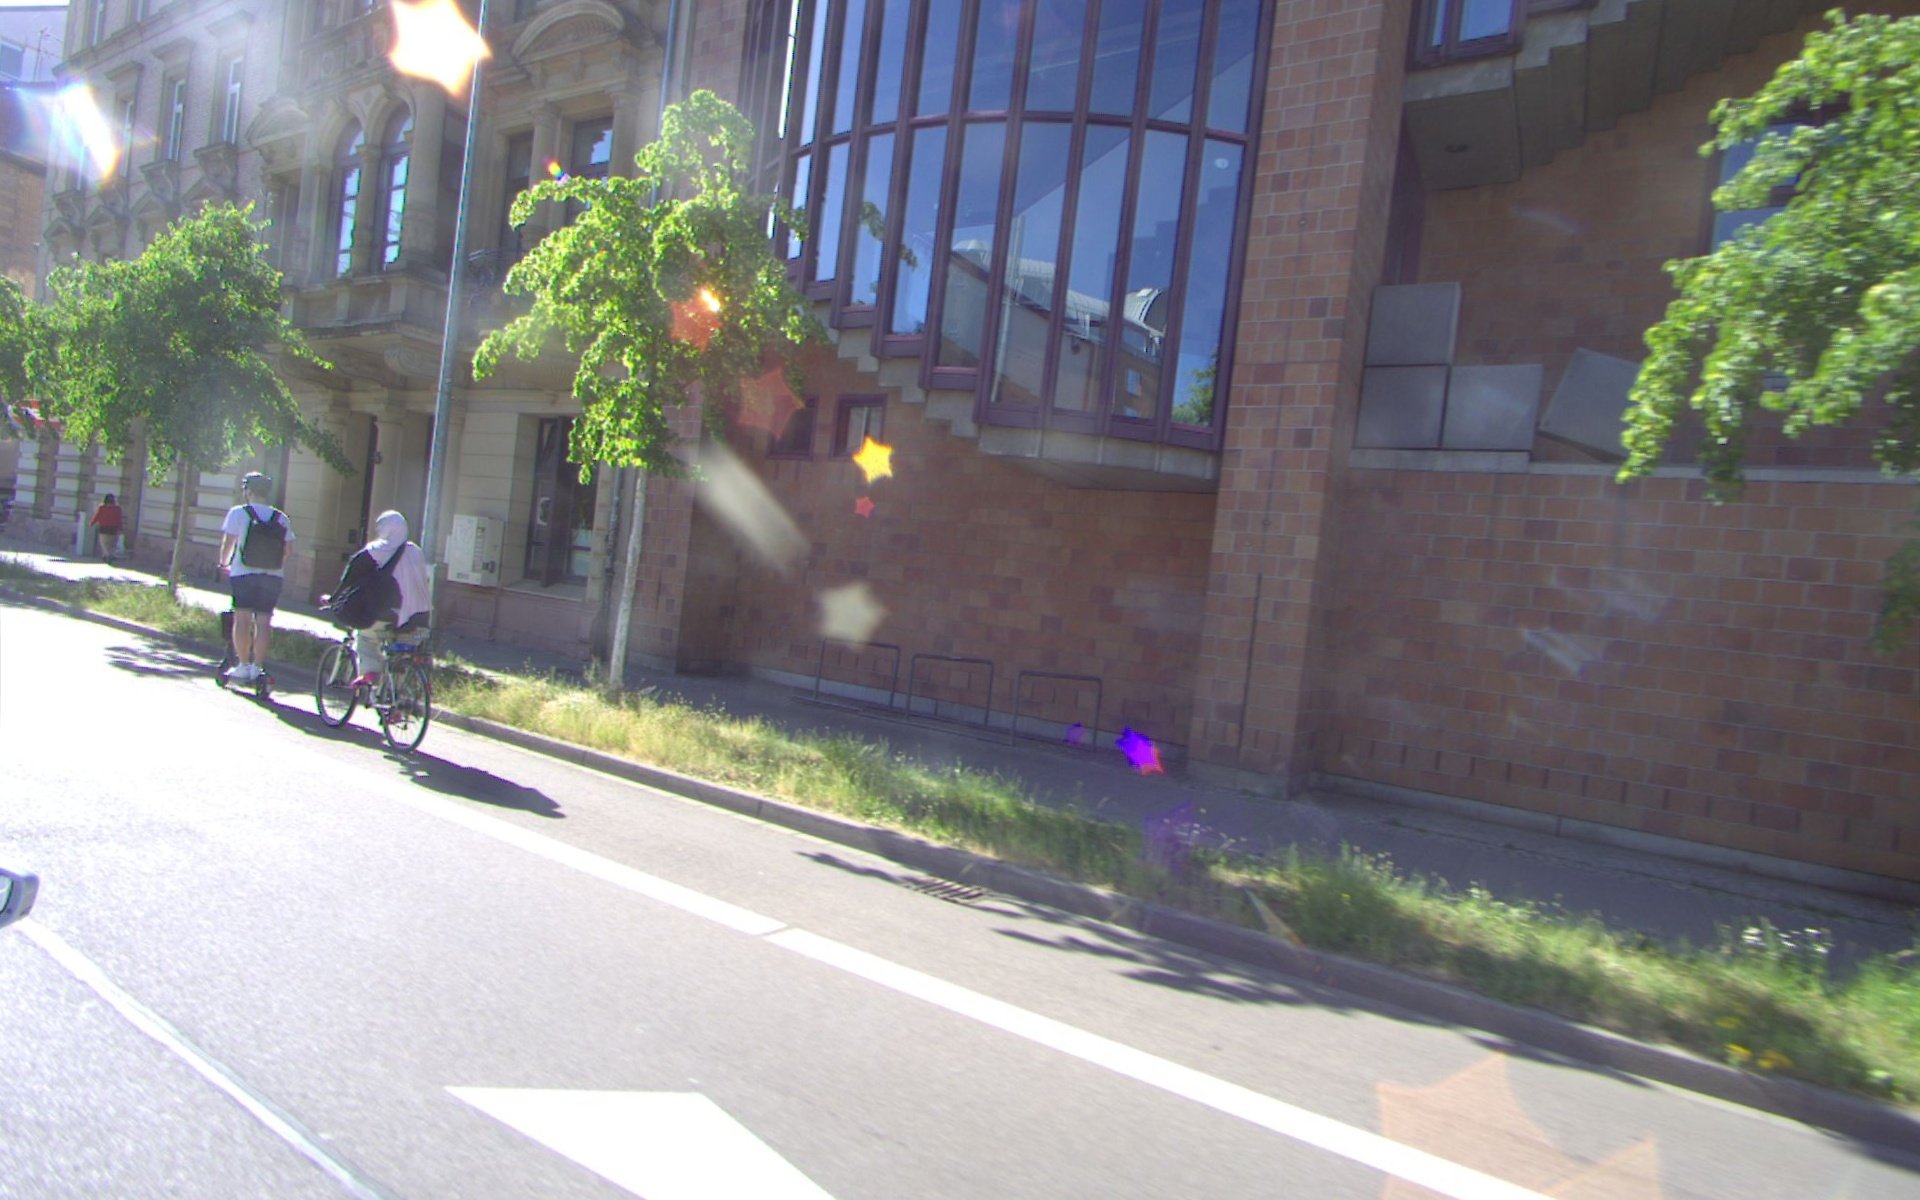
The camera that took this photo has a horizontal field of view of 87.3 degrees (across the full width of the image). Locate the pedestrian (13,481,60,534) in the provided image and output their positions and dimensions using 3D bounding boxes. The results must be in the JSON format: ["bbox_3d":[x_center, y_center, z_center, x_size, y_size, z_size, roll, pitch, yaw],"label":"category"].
[{"bbox_3d":[-34.851,-3.485,37.970,0.852,1.782,0.909,7,0,25],"label":"pedestrian"}]

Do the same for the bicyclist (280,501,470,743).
[{"bbox_3d":[-4.554,0.176,7.851,0.854,1.731,0.781,7,-1,31],"label":"bicyclist"}]

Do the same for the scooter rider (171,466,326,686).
[{"bbox_3d":[-6.534,-0.214,9.247,0.886,1.882,0.667,7,-1,31],"label":"scooter rider"}]

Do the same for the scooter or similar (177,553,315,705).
[{"bbox_3d":[-6.591,0.260,9.280,1.151,1.241,0.491,7,-1,31],"label":"scooter or similar"}]

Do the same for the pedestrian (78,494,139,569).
[{"bbox_3d":[-19.270,-1.557,22.770,0.911,1.561,0.710,7,1,31],"label":"pedestrian"}]

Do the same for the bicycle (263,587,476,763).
[{"bbox_3d":[-4.662,0.558,7.904,1.762,1.105,0.558,7,-1,31],"label":"bicycle"}]
